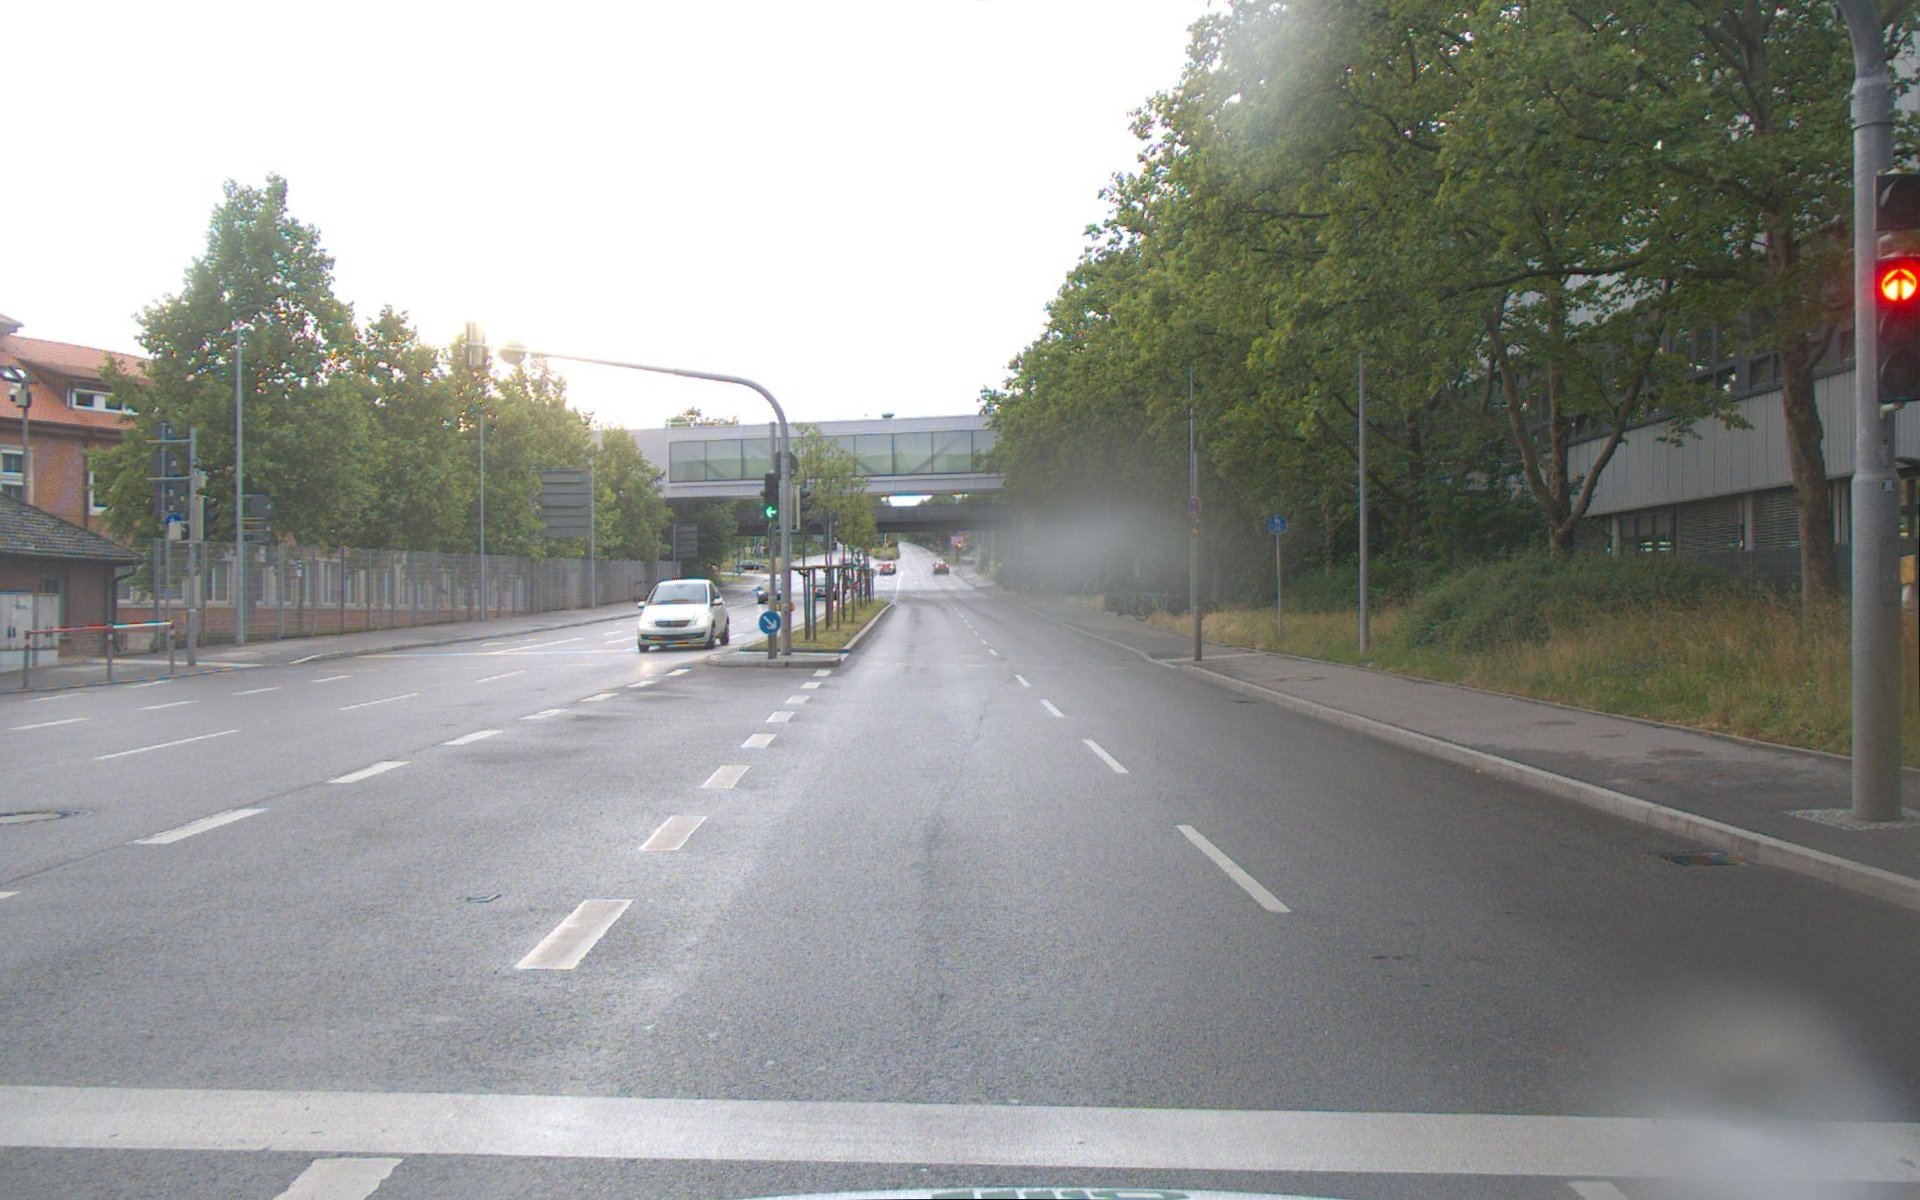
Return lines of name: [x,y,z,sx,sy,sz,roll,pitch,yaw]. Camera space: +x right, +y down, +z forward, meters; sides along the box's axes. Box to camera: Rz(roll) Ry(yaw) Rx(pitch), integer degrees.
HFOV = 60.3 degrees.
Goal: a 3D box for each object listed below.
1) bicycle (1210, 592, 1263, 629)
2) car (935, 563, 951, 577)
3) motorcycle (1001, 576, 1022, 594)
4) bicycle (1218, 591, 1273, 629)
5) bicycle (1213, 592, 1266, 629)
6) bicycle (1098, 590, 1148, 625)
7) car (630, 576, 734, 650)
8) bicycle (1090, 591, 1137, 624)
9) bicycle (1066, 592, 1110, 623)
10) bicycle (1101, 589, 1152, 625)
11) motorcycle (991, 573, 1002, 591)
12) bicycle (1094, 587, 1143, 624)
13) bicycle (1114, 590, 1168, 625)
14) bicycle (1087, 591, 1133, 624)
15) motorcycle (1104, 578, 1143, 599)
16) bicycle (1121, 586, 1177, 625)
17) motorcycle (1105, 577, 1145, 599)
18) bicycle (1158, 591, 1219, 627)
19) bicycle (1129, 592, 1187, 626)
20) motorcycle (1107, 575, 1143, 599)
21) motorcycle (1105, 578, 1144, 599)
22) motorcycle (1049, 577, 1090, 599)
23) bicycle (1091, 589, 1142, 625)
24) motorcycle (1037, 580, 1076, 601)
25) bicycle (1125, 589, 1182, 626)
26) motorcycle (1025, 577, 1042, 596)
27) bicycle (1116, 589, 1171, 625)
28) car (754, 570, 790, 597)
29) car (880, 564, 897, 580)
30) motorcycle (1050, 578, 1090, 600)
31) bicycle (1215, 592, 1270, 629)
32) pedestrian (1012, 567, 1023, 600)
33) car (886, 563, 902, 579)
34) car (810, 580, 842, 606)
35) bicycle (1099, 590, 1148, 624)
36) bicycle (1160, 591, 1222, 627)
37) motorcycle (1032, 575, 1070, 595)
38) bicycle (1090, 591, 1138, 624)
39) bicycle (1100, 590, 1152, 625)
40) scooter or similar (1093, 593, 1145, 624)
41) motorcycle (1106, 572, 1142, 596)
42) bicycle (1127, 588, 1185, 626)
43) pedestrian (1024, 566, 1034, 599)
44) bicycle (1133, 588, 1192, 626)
bicycle: [10.826,0.410,64.710,1.949,1.352,0.576,2,-1,0]
car: [-2.077,-3.676,203.605,1.837,1.523,4.067,2,-1,-1]
motorcycle: [3.908,-1.111,126.192,0.778,1.334,2.364,-1,0,-19]
bicycle: [10.829,0.389,62.743,1.949,1.352,0.576,2,-1,0]
bicycle: [10.825,0.403,64.086,1.949,1.352,0.576,2,-1,0]
bicycle: [6.655,0.301,67.565,1.949,1.352,0.576,2,-1,0]
car: [-6.508,0.275,39.142,1.839,1.653,3.778,-1,0,-1]
bicycle: [6.609,0.326,71.101,1.920,1.352,0.576,2,-1,0]
bicycle: [5.805,0.342,75.103,1.923,1.352,0.654,2,-1,0]
bicycle: [6.624,0.281,65.813,1.949,1.352,0.576,2,-1,0]
motorcycle: [3.216,-1.605,145.349,0.774,1.560,2.375,-1,0,-2]
bicycle: [6.539,0.241,68.298,1.949,1.455,0.723,2,-1,0]
bicycle: [6.824,0.284,62.536,1.949,1.263,0.541,2,-1,0]
bicycle: [6.515,0.330,71.789,1.923,1.352,0.654,2,-1,0]
motorcycle: [9.989,-0.690,100.972,2.318,1.223,0.723,-1,0,7]
bicycle: [6.947,0.203,60.898,1.949,1.364,0.541,2,-1,0]
motorcycle: [9.957,-0.721,99.752,2.318,1.223,0.723,-1,0,7]
bicycle: [7.615,0.306,55.181,1.949,1.114,0.541,2,-1,0]
bicycle: [6.951,0.309,58.237,1.949,1.114,0.541,2,-1,0]
motorcycle: [10.745,-0.871,107.848,2.318,1.502,0.723,-1,0,7]
motorcycle: [10.141,-0.687,101.998,2.318,1.223,0.723,-1,0,7]
motorcycle: [6.313,-0.696,95.590,2.318,1.223,0.723,-1,0,7]
bicycle: [6.295,0.279,66.617,1.949,1.352,0.576,2,-1,0]
motorcycle: [5.967,-0.588,102.276,2.318,1.223,0.723,-1,0,7]
bicycle: [6.966,0.258,59.630,1.949,1.263,0.541,2,-1,0]
motorcycle: [5.352,-0.972,121.167,0.775,1.334,2.371,-1,0,-9]
bicycle: [6.842,0.275,61.587,1.949,1.263,0.541,2,-1,0]
car: [-11.825,-1.012,104.266,1.839,1.653,3.778,-1,0,-1]
car: [-8.951,-3.528,207.144,1.953,1.792,3.999,2,-1,-1]
motorcycle: [6.512,-0.661,97.680,2.318,1.223,0.723,-1,0,7]
bicycle: [10.821,0.396,63.408,1.949,1.352,0.576,2,-1,0]
pedestrian: [3.647,-1.052,104.417,0.609,2.049,0.605,-1,0,-1]
car: [-8.539,-3.745,213.711,1.846,1.792,3.968,2,-1,-1]
car: [-8.808,-0.485,109.110,1.839,1.653,3.778,-1,0,-1]
bicycle: [6.820,0.312,69.155,1.949,1.352,0.576,2,-1,0]
bicycle: [7.622,0.300,54.612,1.949,1.114,0.541,2,-1,0]
motorcycle: [5.856,-0.982,106.411,2.318,1.223,0.723,-1,0,7]
bicycle: [6.489,0.321,69.861,1.949,1.352,0.576,2,-1,0]
bicycle: [6.415,0.286,63.904,1.949,1.263,0.541,2,-1,0]
scooter or similar: [6.210,0.325,64.663,1.949,1.157,0.541,2,-1,0]
motorcycle: [10.828,-1.071,109.084,2.318,1.502,0.723,-1,0,7]
bicycle: [6.961,0.248,58.820,1.949,1.255,0.541,2,-1,0]
pedestrian: [4.334,-1.083,104.000,0.609,2.049,0.605,-1,0,-1]
bicycle: [6.927,0.237,56.630,1.949,1.237,0.541,2,-1,0]
